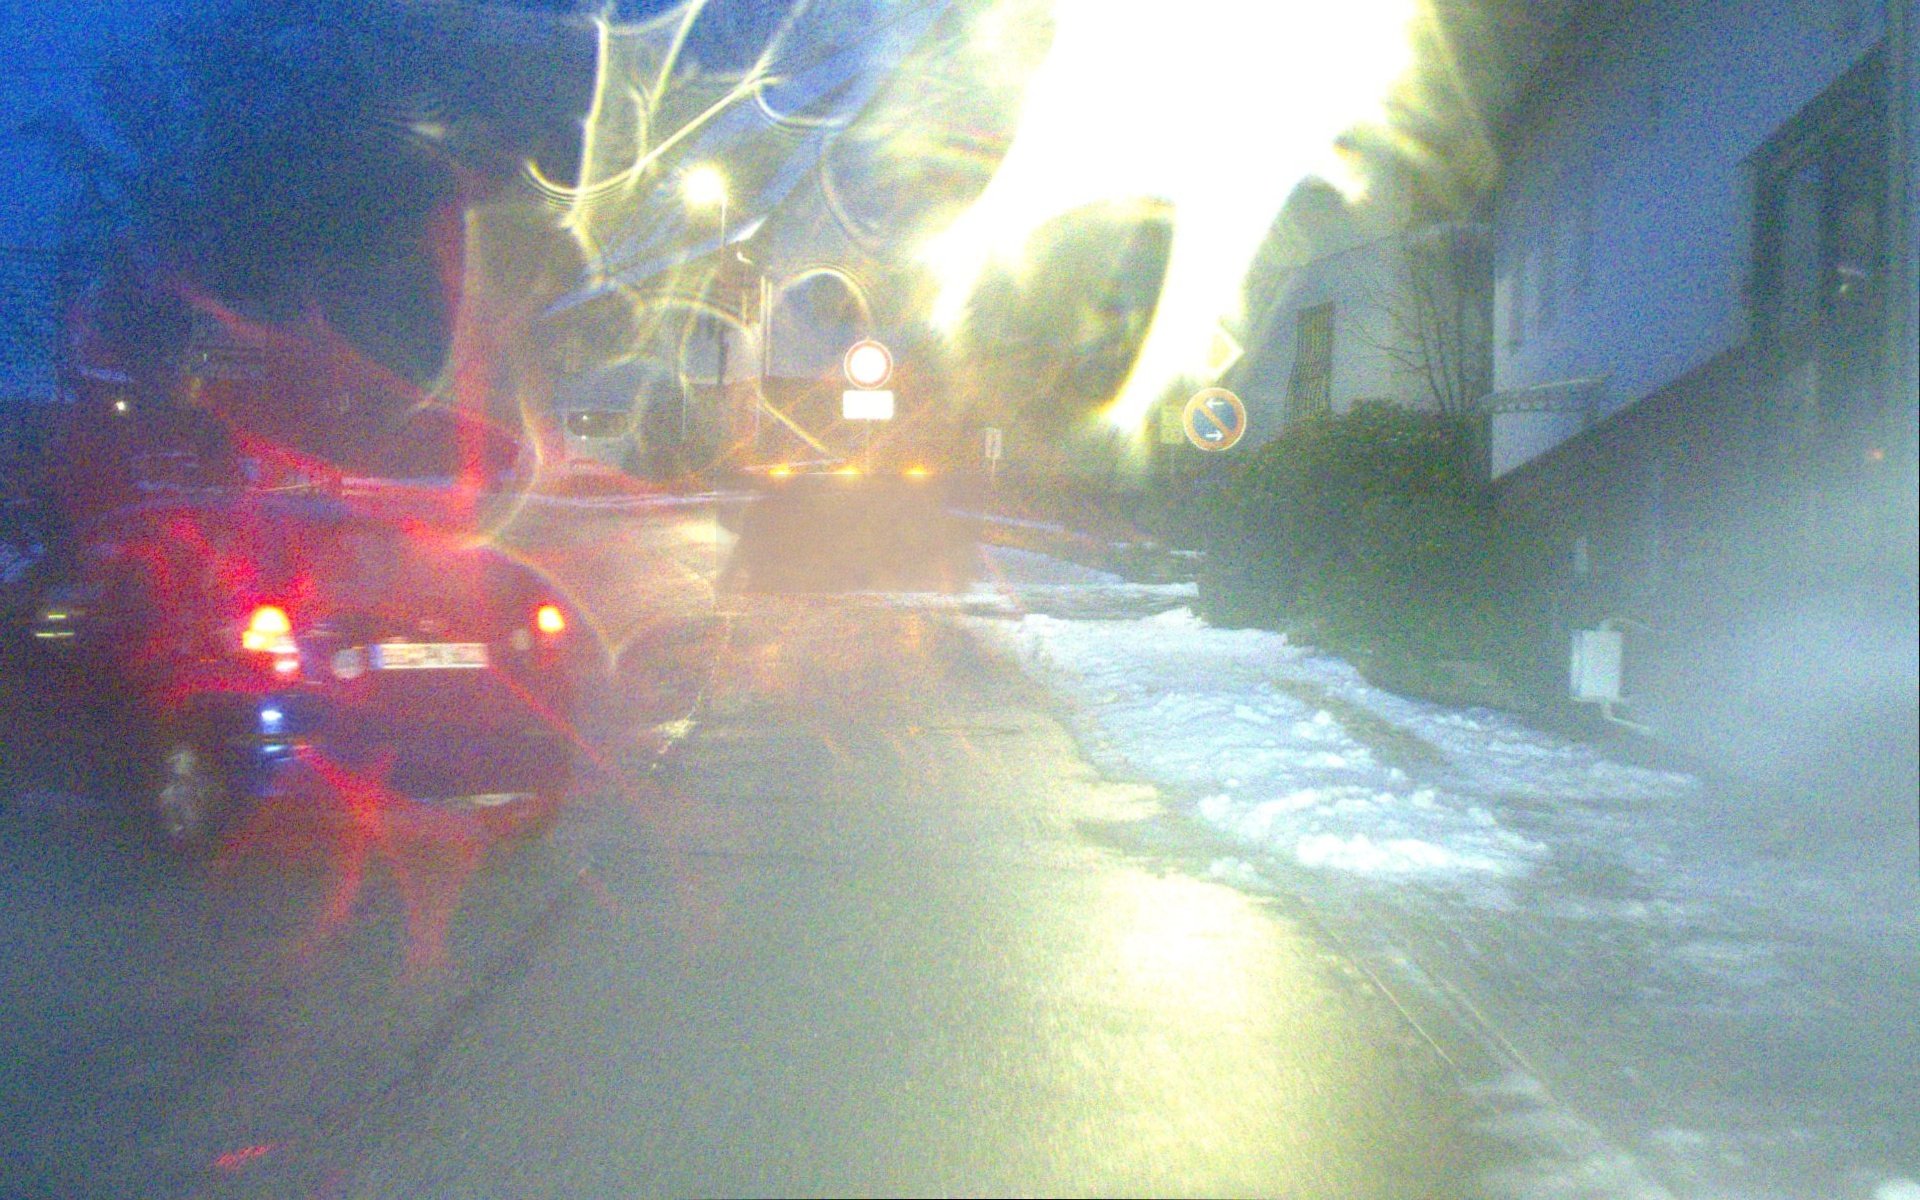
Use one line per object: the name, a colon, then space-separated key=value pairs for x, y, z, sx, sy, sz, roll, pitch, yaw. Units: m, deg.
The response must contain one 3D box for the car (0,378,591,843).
car: x=-3.249 y=0.010 z=15.221 sx=1.822 sy=1.790 sz=3.578 roll=-1 pitch=1 yaw=-32
